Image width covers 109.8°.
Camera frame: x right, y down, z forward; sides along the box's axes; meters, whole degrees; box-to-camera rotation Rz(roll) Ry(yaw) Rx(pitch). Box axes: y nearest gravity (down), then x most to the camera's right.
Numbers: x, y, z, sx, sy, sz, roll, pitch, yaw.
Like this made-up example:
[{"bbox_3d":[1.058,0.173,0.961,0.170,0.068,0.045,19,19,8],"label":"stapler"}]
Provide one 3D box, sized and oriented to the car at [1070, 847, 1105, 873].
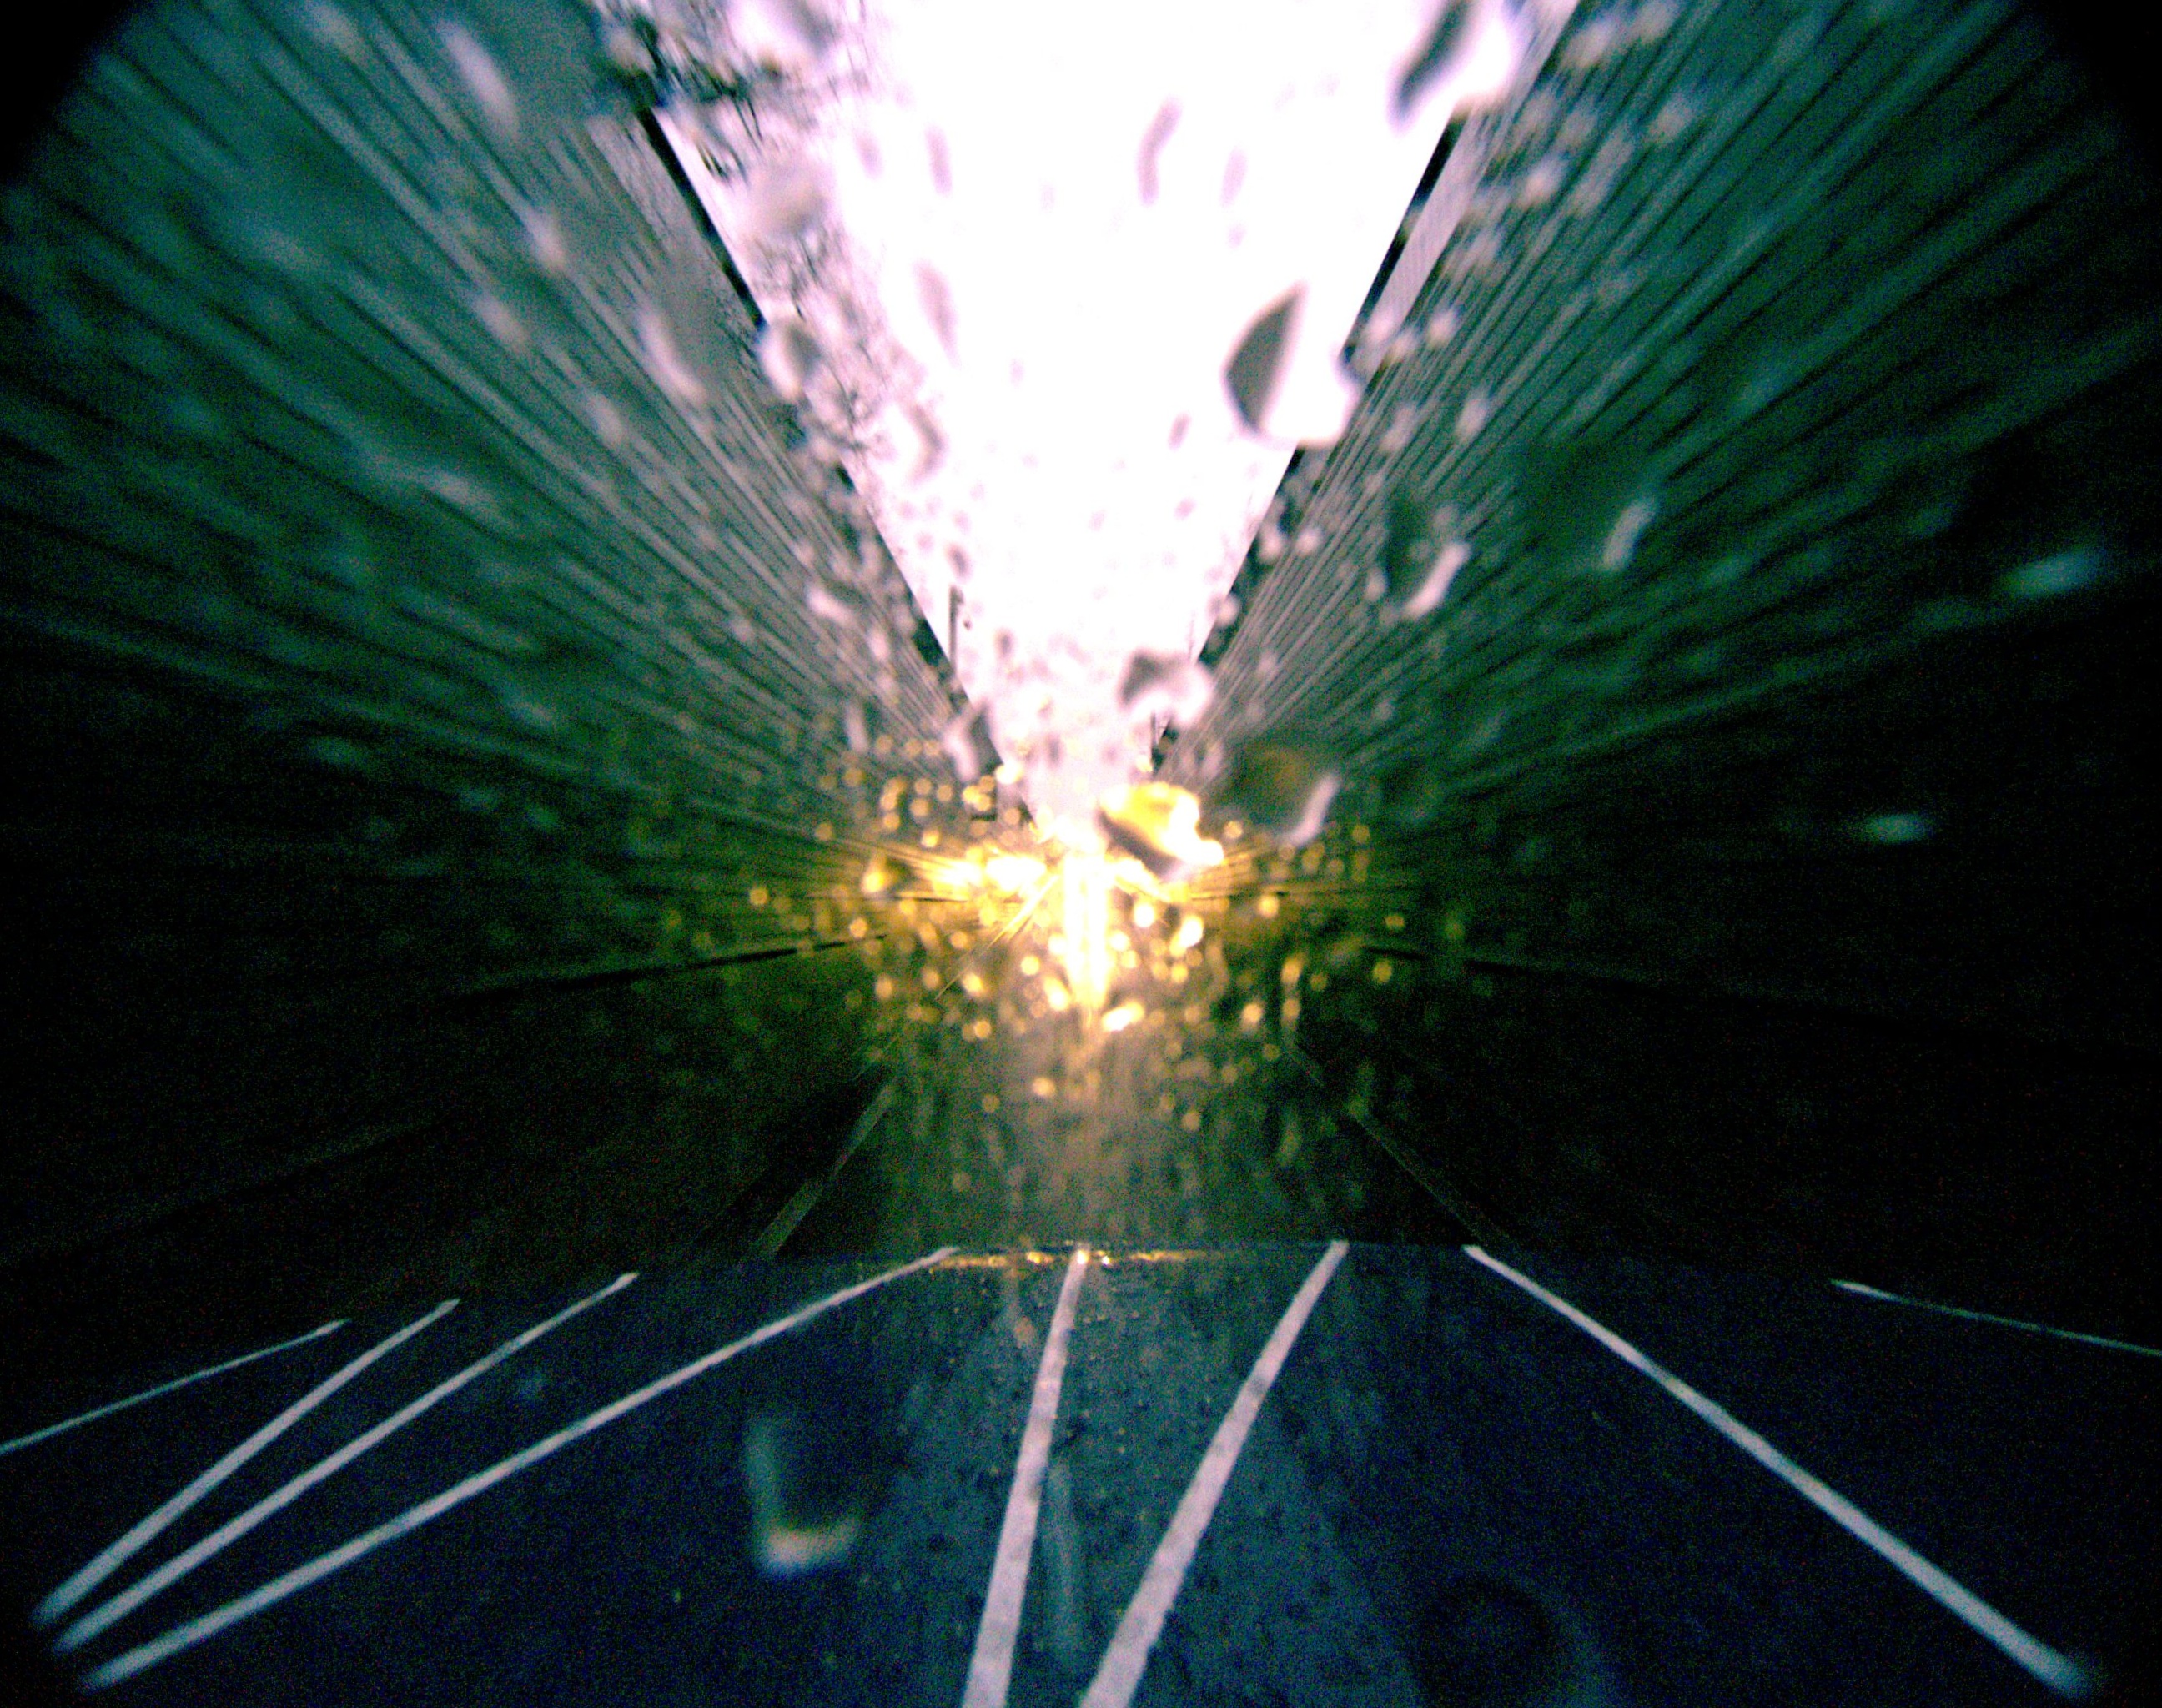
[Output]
[{"bbox_3d":[0.456,0.413,49.393,2.160,1.488,4.010,-1,-3,1],"label":"car"}]
